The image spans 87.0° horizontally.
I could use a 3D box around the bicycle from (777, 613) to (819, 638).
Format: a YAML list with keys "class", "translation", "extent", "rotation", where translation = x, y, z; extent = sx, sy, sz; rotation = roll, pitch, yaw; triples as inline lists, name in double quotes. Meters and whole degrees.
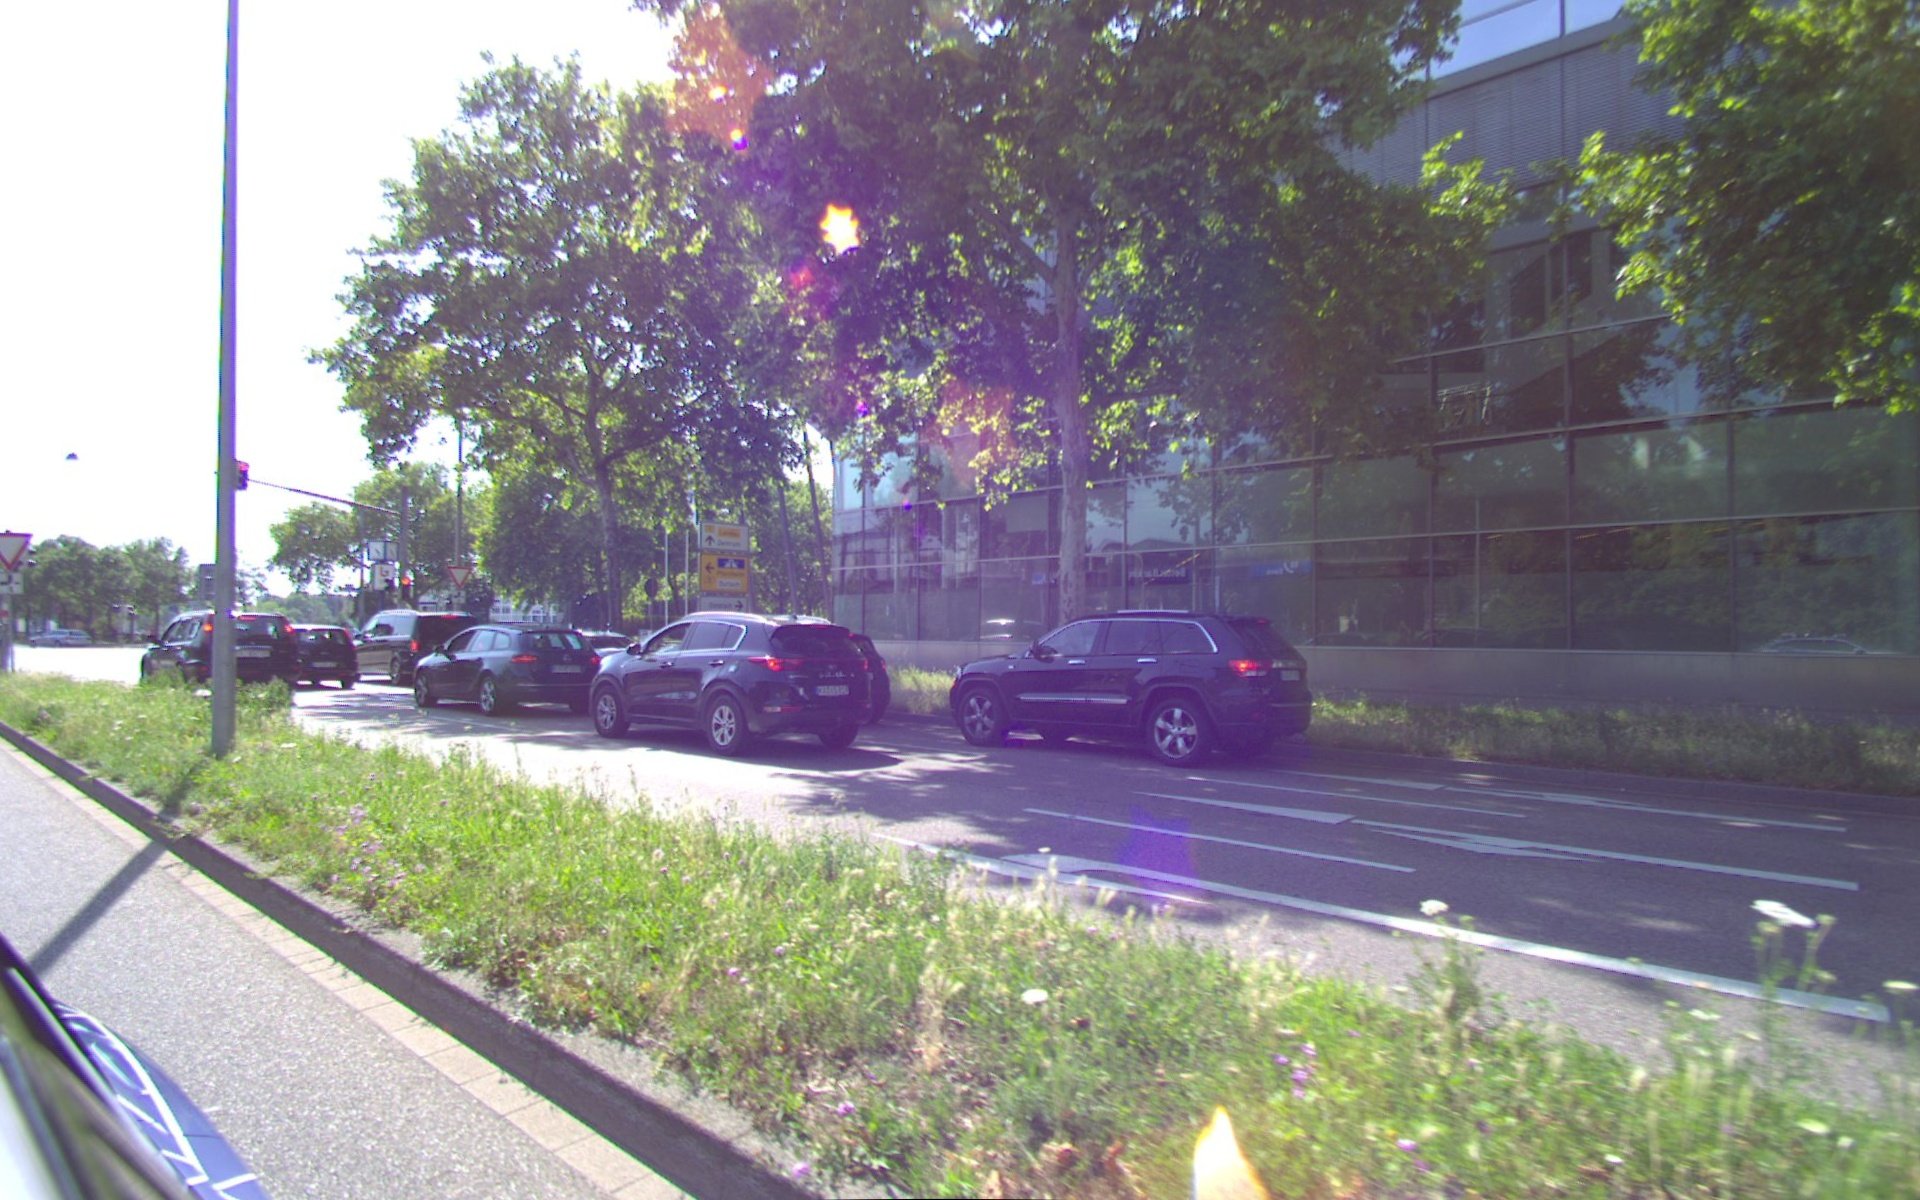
- class: "bicycle"
  translation: [-7.463, 1.173, 46.642]
  extent: [1.776, 1.119, 0.739]
  rotation: [0, -2, 2]

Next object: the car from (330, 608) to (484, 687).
- class: "car"
  translation: [-14.962, 1.253, 27.252]
  extent: [5.225, 1.934, 1.918]
  rotation: [-2, -3, 41]

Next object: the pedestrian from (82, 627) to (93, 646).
- class: "pedestrian"
  translation: [-80.616, 3.364, 93.470]
  extent: [0.767, 1.722, 0.622]
  rotation: [-2, -3, 40]

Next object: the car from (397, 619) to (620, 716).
- class: "car"
  translation: [-7.965, 1.124, 17.655]
  extent: [4.515, 1.473, 1.816]
  rotation: [-1, -5, 42]

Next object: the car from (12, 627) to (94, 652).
- class: "car"
  translation: [-69.366, 3.026, 77.386]
  extent: [5.109, 1.737, 1.993]
  rotation: [-2, -3, 11]

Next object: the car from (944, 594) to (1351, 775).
- class: "car"
  translation: [2.178, 0.956, 12.632]
  extent: [4.649, 1.849, 1.973]
  rotation: [-2, -4, 41]

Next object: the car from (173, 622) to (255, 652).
- class: "car"
  translation: [-44.411, 2.216, 60.394]
  extent: [1.969, 1.722, 4.437]
  rotation: [0, -2, -6]

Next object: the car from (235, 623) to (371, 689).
- class: "car"
  translation: [-16.107, 1.328, 24.737]
  extent: [3.955, 1.487, 1.743]
  rotation: [-2, -3, 41]

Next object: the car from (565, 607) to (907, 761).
- class: "car"
  translation: [-2.977, 0.979, 12.926]
  extent: [4.493, 1.623, 1.973]
  rotation: [-2, -3, 41]

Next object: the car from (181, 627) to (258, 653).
- class: "car"
  translation: [-48.568, 2.584, 66.474]
  extent: [1.752, 1.641, 3.989]
  rotation: [0, -2, 8]

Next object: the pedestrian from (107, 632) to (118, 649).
- class: "pedestrian"
  translation: [-78.656, 3.754, 93.902]
  extent: [0.879, 1.536, 0.571]
  rotation: [-2, -3, 40]

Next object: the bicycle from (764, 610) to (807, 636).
- class: "bicycle"
  translation: [-7.726, 1.027, 44.902]
  extent: [1.776, 1.119, 0.739]
  rotation: [0, -2, 2]

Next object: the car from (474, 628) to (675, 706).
- class: "car"
  translation: [-8.283, 1.366, 21.520]
  extent: [5.002, 1.460, 1.871]
  rotation: [-1, -4, 42]

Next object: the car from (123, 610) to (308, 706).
- class: "car"
  translation: [-14.161, 1.055, 19.164]
  extent: [4.487, 1.628, 1.789]
  rotation: [-2, -3, 40]

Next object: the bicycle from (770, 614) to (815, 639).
- class: "bicycle"
  translation: [-7.558, 1.178, 45.691]
  extent: [1.861, 1.119, 0.739]
  rotation: [0, -2, 2]
